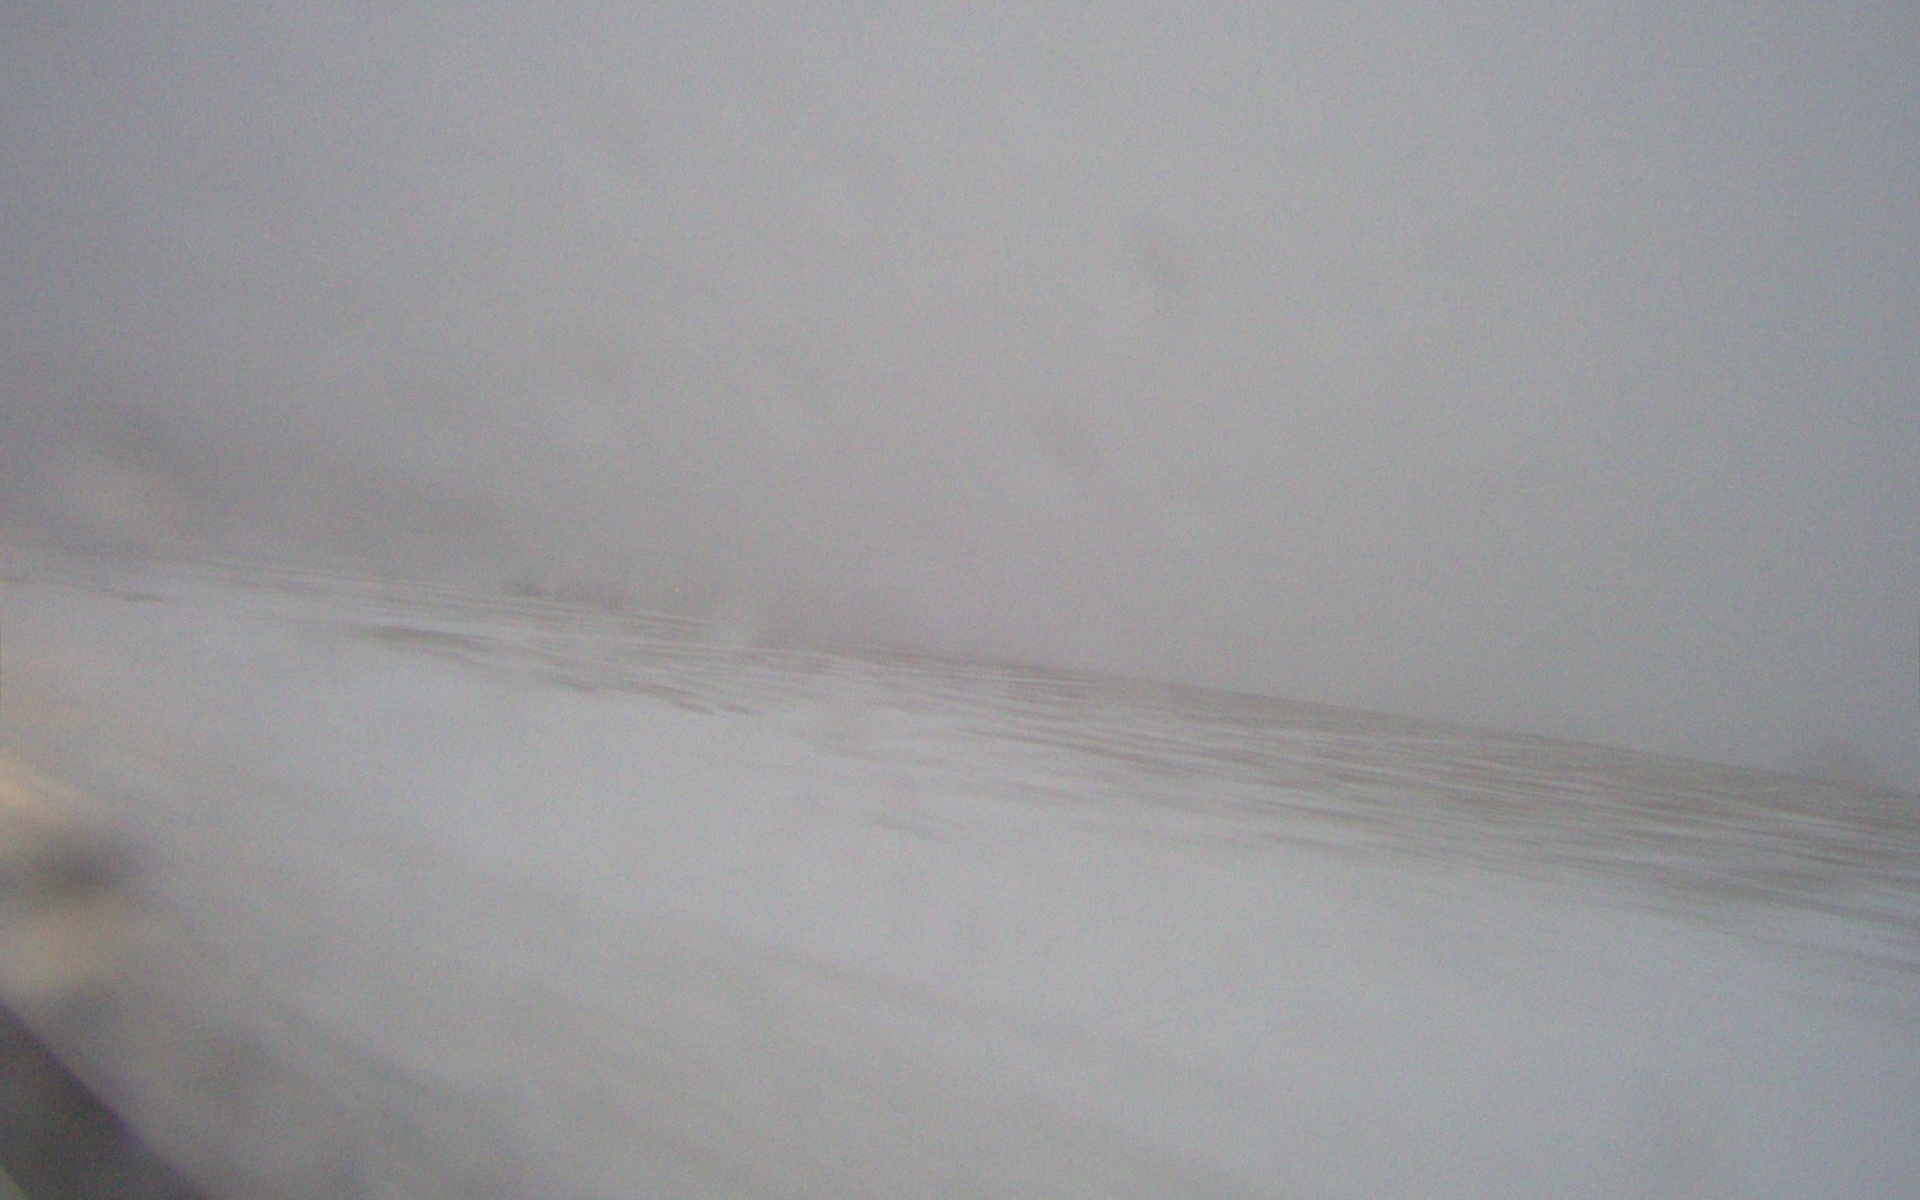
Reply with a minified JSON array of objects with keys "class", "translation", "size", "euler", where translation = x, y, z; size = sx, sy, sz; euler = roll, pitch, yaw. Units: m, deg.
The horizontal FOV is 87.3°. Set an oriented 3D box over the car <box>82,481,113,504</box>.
[{"class":"car","translation":[-71.253,-8.840,83.154],"size":[1.513,1.526,3.026],"euler":[7,-1,-34]}]
